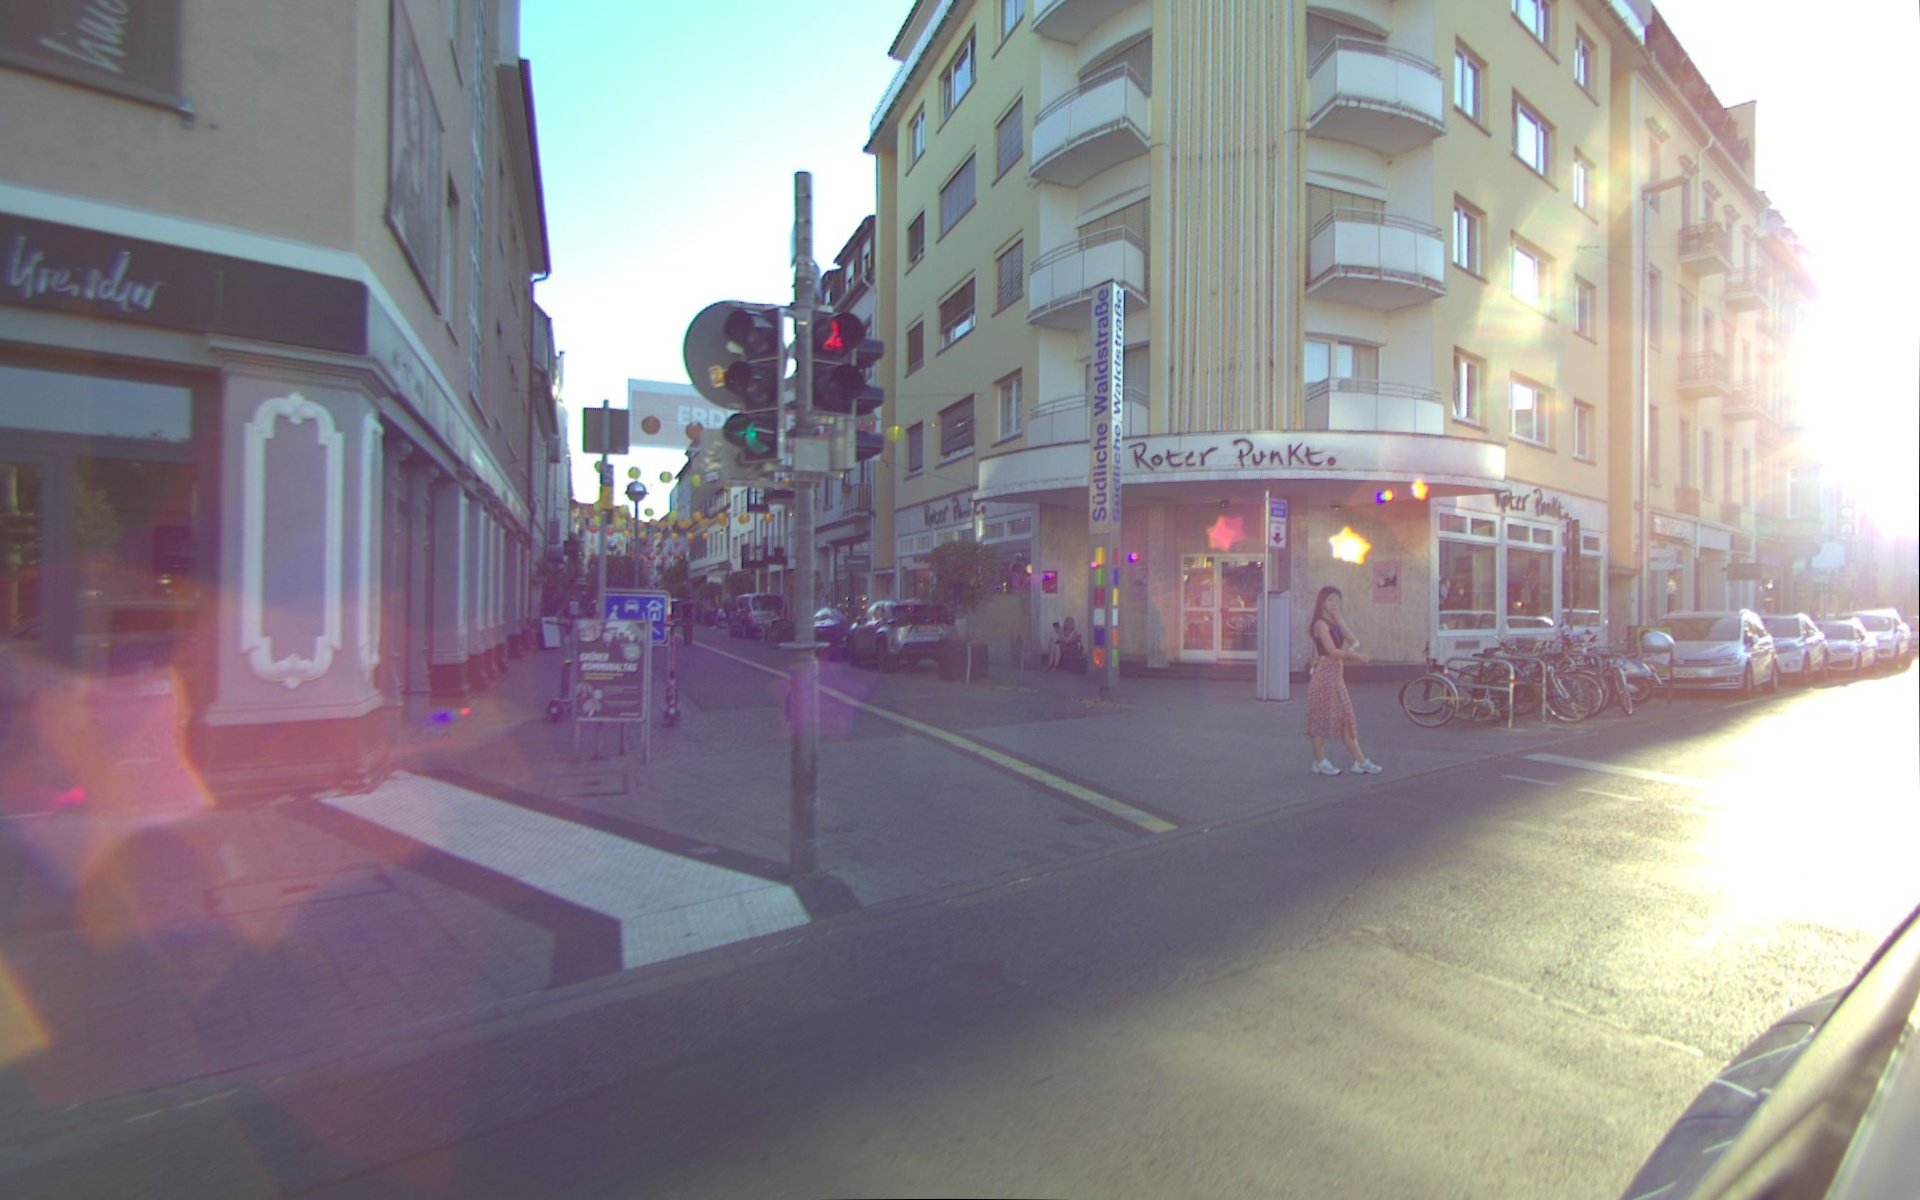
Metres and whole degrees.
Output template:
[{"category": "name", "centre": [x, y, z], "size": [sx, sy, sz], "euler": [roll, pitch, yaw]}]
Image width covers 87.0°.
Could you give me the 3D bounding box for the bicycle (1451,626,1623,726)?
[{"category": "bicycle", "centre": [7.690, 0.968, 13.547], "size": [0.711, 1.182, 1.885], "euler": [1, 0, -44]}]

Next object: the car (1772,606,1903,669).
[{"category": "car", "centre": [23.738, 1.001, 27.316], "size": [4.783, 1.563, 2.019], "euler": [2, -2, -41]}]

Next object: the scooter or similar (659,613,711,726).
[{"category": "scooter or similar", "centre": [-3.334, 0.795, 12.223], "size": [0.513, 1.281, 1.323], "euler": [0, -1, -19]}]

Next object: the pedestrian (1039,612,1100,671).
[{"category": "pedestrian", "centre": [2.294, 0.841, 21.181], "size": [0.727, 1.189, 1.164], "euler": [0, -1, 42]}]

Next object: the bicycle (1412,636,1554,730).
[{"category": "bicycle", "centre": [6.560, 1.012, 12.735], "size": [0.504, 1.039, 1.501], "euler": [1, 0, -45]}]

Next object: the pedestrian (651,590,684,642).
[{"category": "pedestrian", "centre": [-10.292, 0.560, 35.614], "size": [1.118, 1.785, 1.161], "euler": [0, 0, -16]}]

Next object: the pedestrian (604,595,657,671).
[{"category": "pedestrian", "centre": [-6.937, 0.670, 21.301], "size": [1.025, 1.544, 0.989], "euler": [0, 0, -18]}]

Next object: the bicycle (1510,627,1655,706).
[{"category": "bicycle", "centre": [9.909, 1.026, 16.157], "size": [0.583, 1.126, 1.886], "euler": [1, 0, -43]}]

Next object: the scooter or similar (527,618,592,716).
[{"category": "scooter or similar", "centre": [-5.181, 0.833, 13.052], "size": [0.514, 1.179, 1.321], "euler": [0, -1, -34]}]

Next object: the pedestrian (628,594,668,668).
[{"category": "pedestrian", "centre": [-6.893, 0.663, 22.348], "size": [0.814, 1.584, 1.049], "euler": [0, 0, -17]}]

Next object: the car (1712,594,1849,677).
[{"category": "car", "centre": [19.523, 0.826, 24.014], "size": [4.331, 1.785, 1.870], "euler": [2, -2, -42]}]

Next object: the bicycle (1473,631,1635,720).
[{"category": "bicycle", "centre": [8.323, 1.021, 14.247], "size": [0.591, 1.127, 1.886], "euler": [1, -1, -43]}]

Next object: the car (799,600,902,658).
[{"category": "car", "centre": [-3.103, 0.758, 27.968], "size": [1.908, 1.475, 4.008], "euler": [0, 0, -20]}]

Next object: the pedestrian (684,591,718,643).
[{"category": "pedestrian", "centre": [-9.028, 0.580, 35.248], "size": [1.118, 1.785, 1.193], "euler": [0, 0, -16]}]

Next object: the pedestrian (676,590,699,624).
[{"category": "pedestrian", "centre": [-14.229, 0.364, 52.783], "size": [1.118, 1.785, 0.754], "euler": [0, -1, -16]}]

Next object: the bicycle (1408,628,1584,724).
[{"category": "bicycle", "centre": [6.948, 0.948, 13.195], "size": [0.749, 1.127, 1.885], "euler": [1, -1, -44]}]

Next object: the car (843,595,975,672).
[{"category": "car", "centre": [-1.254, 0.693, 23.045], "size": [1.887, 1.589, 4.008], "euler": [0, 0, -20]}]

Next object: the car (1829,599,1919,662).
[{"category": "car", "centre": [28.047, 0.935, 30.757], "size": [4.577, 1.767, 1.885], "euler": [2, -2, -41]}]

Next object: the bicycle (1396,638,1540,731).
[{"category": "bicycle", "centre": [6.205, 1.002, 12.412], "size": [0.504, 1.028, 1.501], "euler": [1, -1, -43]}]

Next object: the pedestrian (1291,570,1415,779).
[{"category": "pedestrian", "centre": [3.500, 0.623, 9.002], "size": [0.794, 1.742, 0.799], "euler": [-1, -1, 42]}]

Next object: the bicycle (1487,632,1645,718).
[{"category": "bicycle", "centre": [8.707, 1.040, 14.615], "size": [0.512, 1.127, 1.885], "euler": [1, -1, -43]}]

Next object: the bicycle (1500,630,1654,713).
[{"category": "bicycle", "centre": [9.250, 1.038, 15.243], "size": [0.583, 1.126, 1.885], "euler": [-1, 0, -43]}]

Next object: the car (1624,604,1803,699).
[{"category": "car", "centre": [14.855, 0.896, 19.848], "size": [4.722, 1.633, 1.996], "euler": [0, 0, -43]}]

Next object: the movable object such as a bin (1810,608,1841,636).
[{"category": "movable object such as a bin", "centre": [38.682, 0.987, 45.244], "size": [1.374, 1.201, 0.867], "euler": [1, -1, -41]}]

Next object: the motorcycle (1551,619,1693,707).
[{"category": "motorcycle", "centre": [10.742, 0.983, 16.472], "size": [0.704, 1.279, 1.814], "euler": [1, 0, -43]}]

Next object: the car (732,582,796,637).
[{"category": "car", "centre": [-8.170, 0.386, 41.947], "size": [1.958, 2.173, 4.008], "euler": [0, 0, -20]}]

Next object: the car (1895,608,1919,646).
[{"category": "car", "centre": [42.758, 1.224, 44.710], "size": [3.929, 1.605, 1.703], "euler": [2, -1, -41]}]
